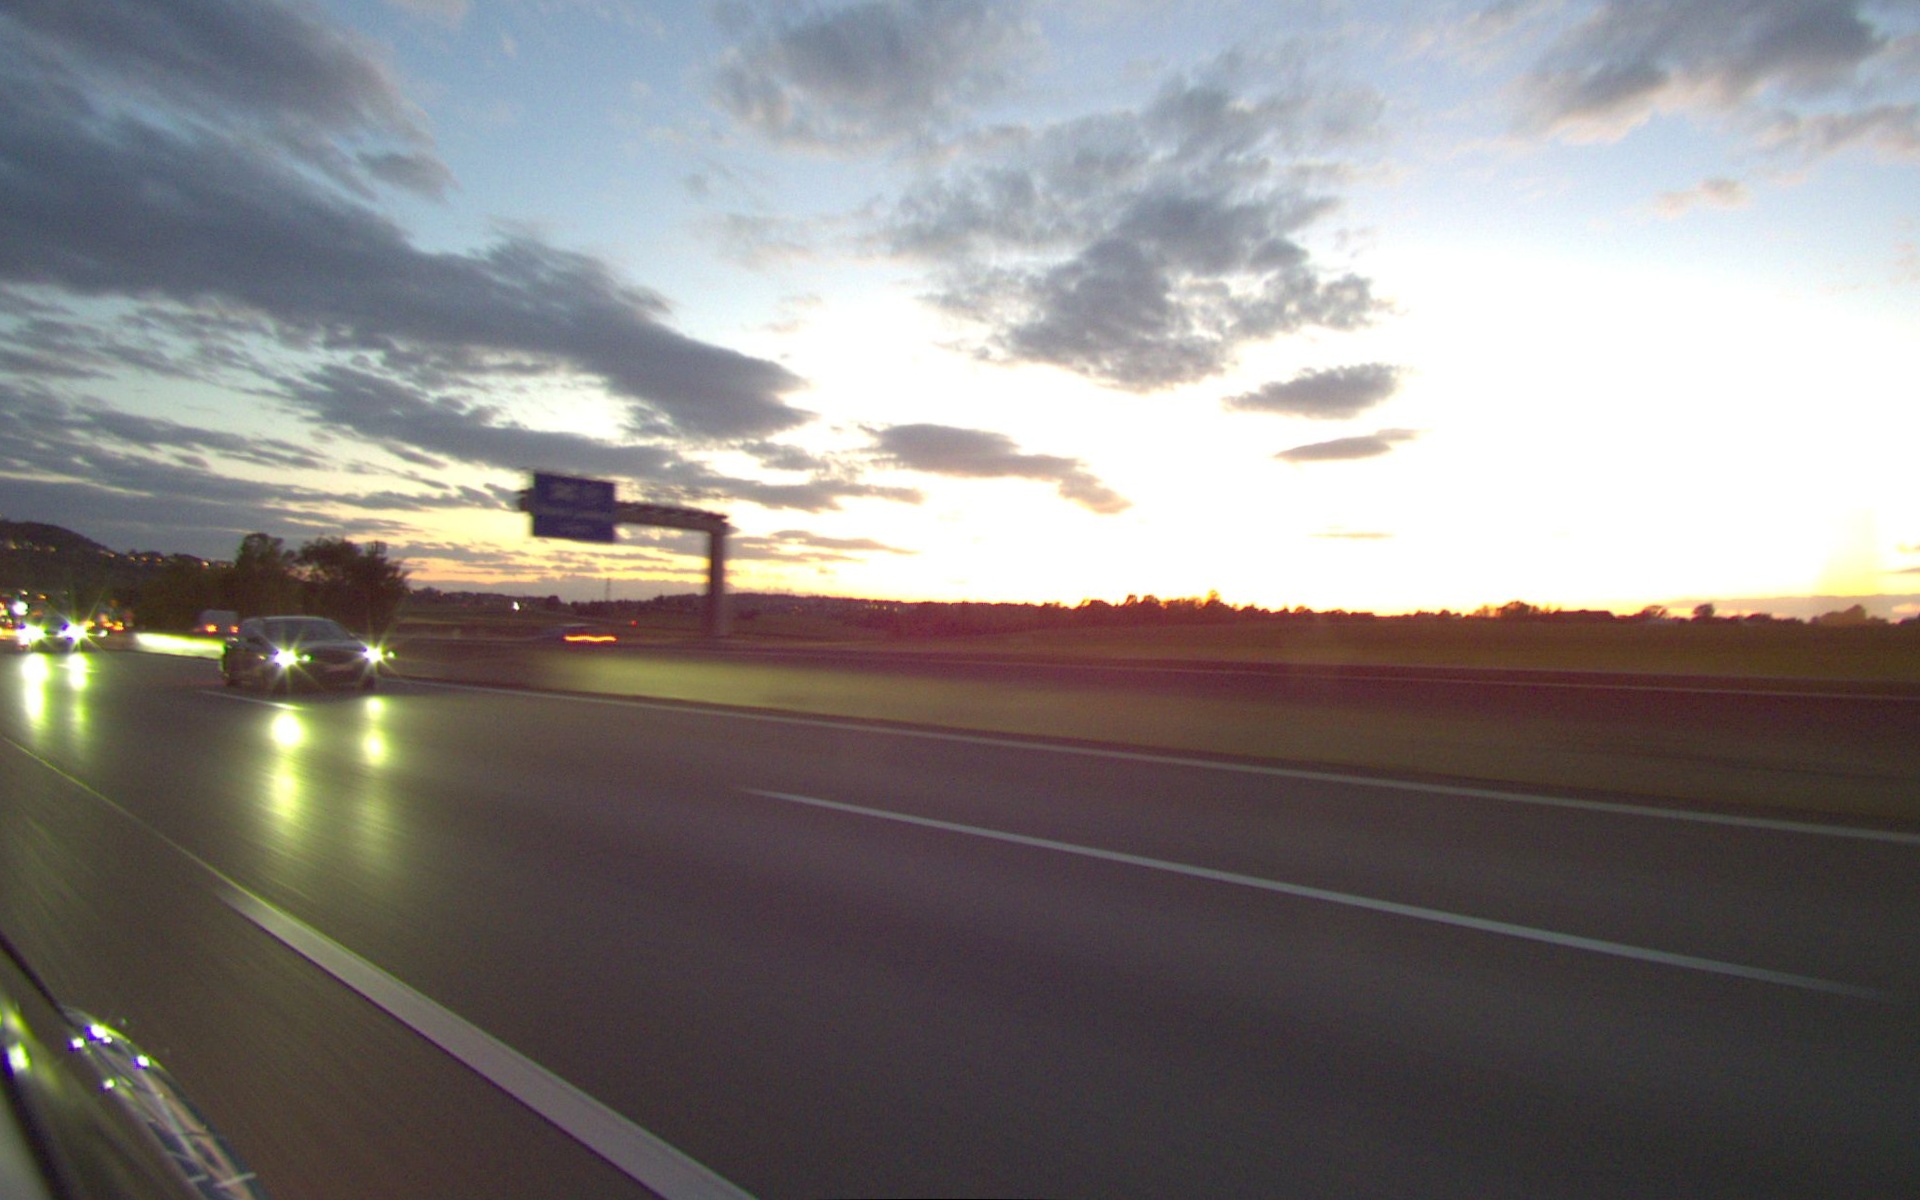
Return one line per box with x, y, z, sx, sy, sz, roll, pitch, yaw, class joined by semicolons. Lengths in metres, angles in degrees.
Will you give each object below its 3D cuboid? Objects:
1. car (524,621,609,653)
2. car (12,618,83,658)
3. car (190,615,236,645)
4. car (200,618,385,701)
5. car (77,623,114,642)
-17.923;1.631;45.955;4.550;1.329;1.717;-1;0;42;car
-41.228;1.661;45.692;4.854;1.660;1.795;-1;0;41;car
-63.835;2.497;86.409;5.834;2.405;1.973;-1;0;42;car
-13.864;1.118;20.873;5.392;1.448;1.795;-1;0;41;car
-69.815;2.616;81.728;3.899;1.380;1.714;-1;0;42;car
